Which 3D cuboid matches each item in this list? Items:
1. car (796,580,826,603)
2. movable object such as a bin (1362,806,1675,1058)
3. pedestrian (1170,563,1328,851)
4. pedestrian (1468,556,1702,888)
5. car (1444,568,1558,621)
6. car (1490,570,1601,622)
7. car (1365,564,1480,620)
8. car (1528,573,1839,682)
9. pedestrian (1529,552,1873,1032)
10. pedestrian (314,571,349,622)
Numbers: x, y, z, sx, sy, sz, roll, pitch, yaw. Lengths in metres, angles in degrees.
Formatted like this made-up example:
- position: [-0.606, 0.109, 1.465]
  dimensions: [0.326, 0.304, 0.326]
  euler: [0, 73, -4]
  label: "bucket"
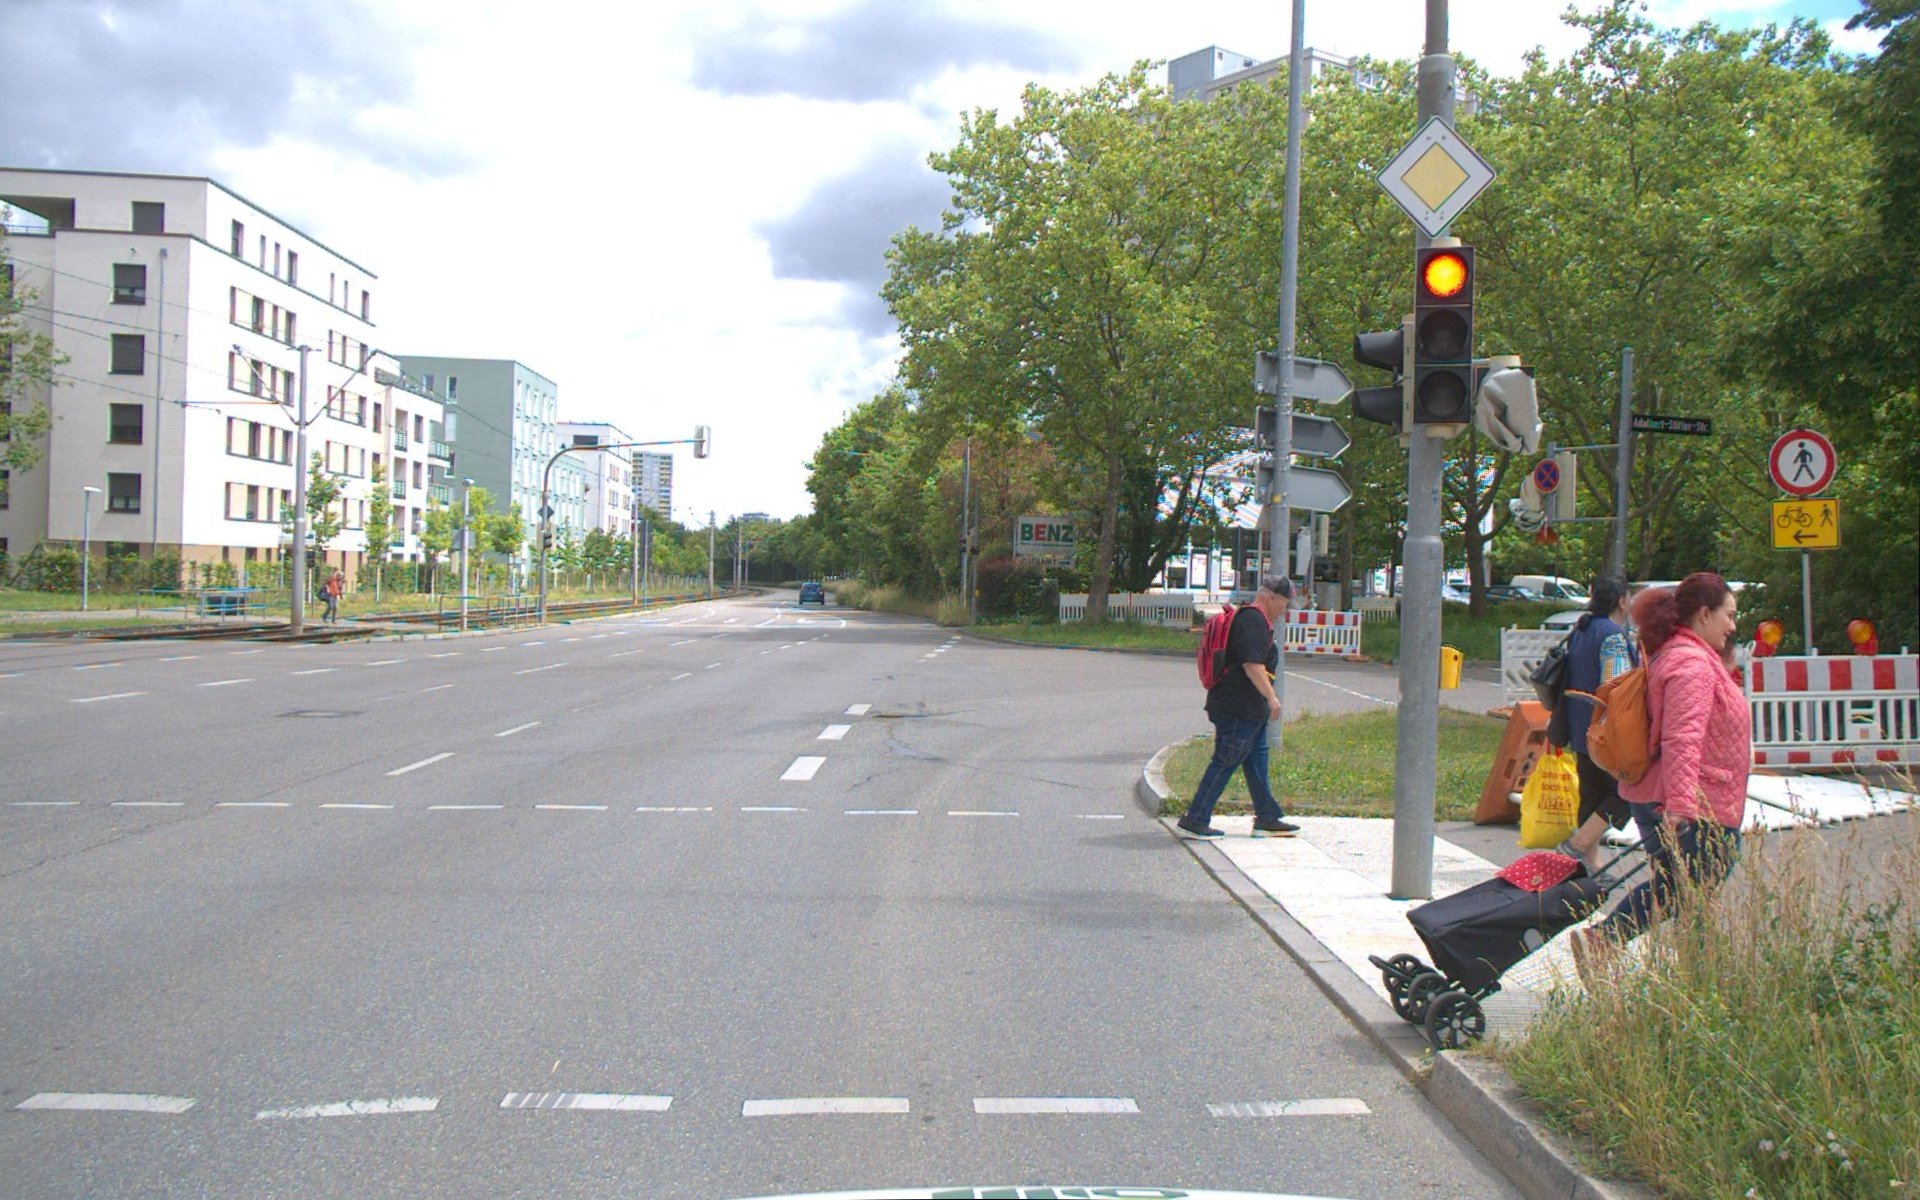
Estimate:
- position: [-10.133, -0.588, 112.484]
  dimensions: [1.944, 1.512, 4.485]
  euler: [1, 1, -6]
  label: "car"
- position: [1.835, 1.082, 5.541]
  dimensions: [0.779, 0.673, 0.778]
  euler: [1, 0, -1]
  label: "movable object such as a bin"
- position: [1.707, 0.604, 9.897]
  dimensions: [0.873, 1.624, 0.909]
  euler: [1, 0, 7]
  label: "pedestrian"
- position: [3.251, 0.602, 8.694]
  dimensions: [0.893, 1.635, 0.930]
  euler: [1, 0, 3]
  label: "pedestrian"
- position: [21.366, -0.232, 65.459]
  dimensions: [1.974, 2.049, 3.957]
  euler: [0, 1, -32]
  label: "car"
- position: [23.933, -0.179, 67.696]
  dimensions: [1.974, 2.049, 3.957]
  euler: [0, 1, -32]
  label: "car"
- position: [17.521, -0.311, 62.825]
  dimensions: [1.974, 2.049, 3.957]
  euler: [0, 1, -32]
  label: "car"
- position: [13.428, 0.501, 30.859]
  dimensions: [4.976, 1.906, 1.947]
  euler: [1, 0, -5]
  label: "car"
- position: [2.581, 0.633, 5.849]
  dimensions: [0.863, 1.582, 0.746]
  euler: [1, 0, -1]
  label: "pedestrian"
- position: [-19.208, -0.104, 50.549]
  dimensions: [0.814, 1.542, 0.636]
  euler: [1, 0, -1]
  label: "pedestrian"
